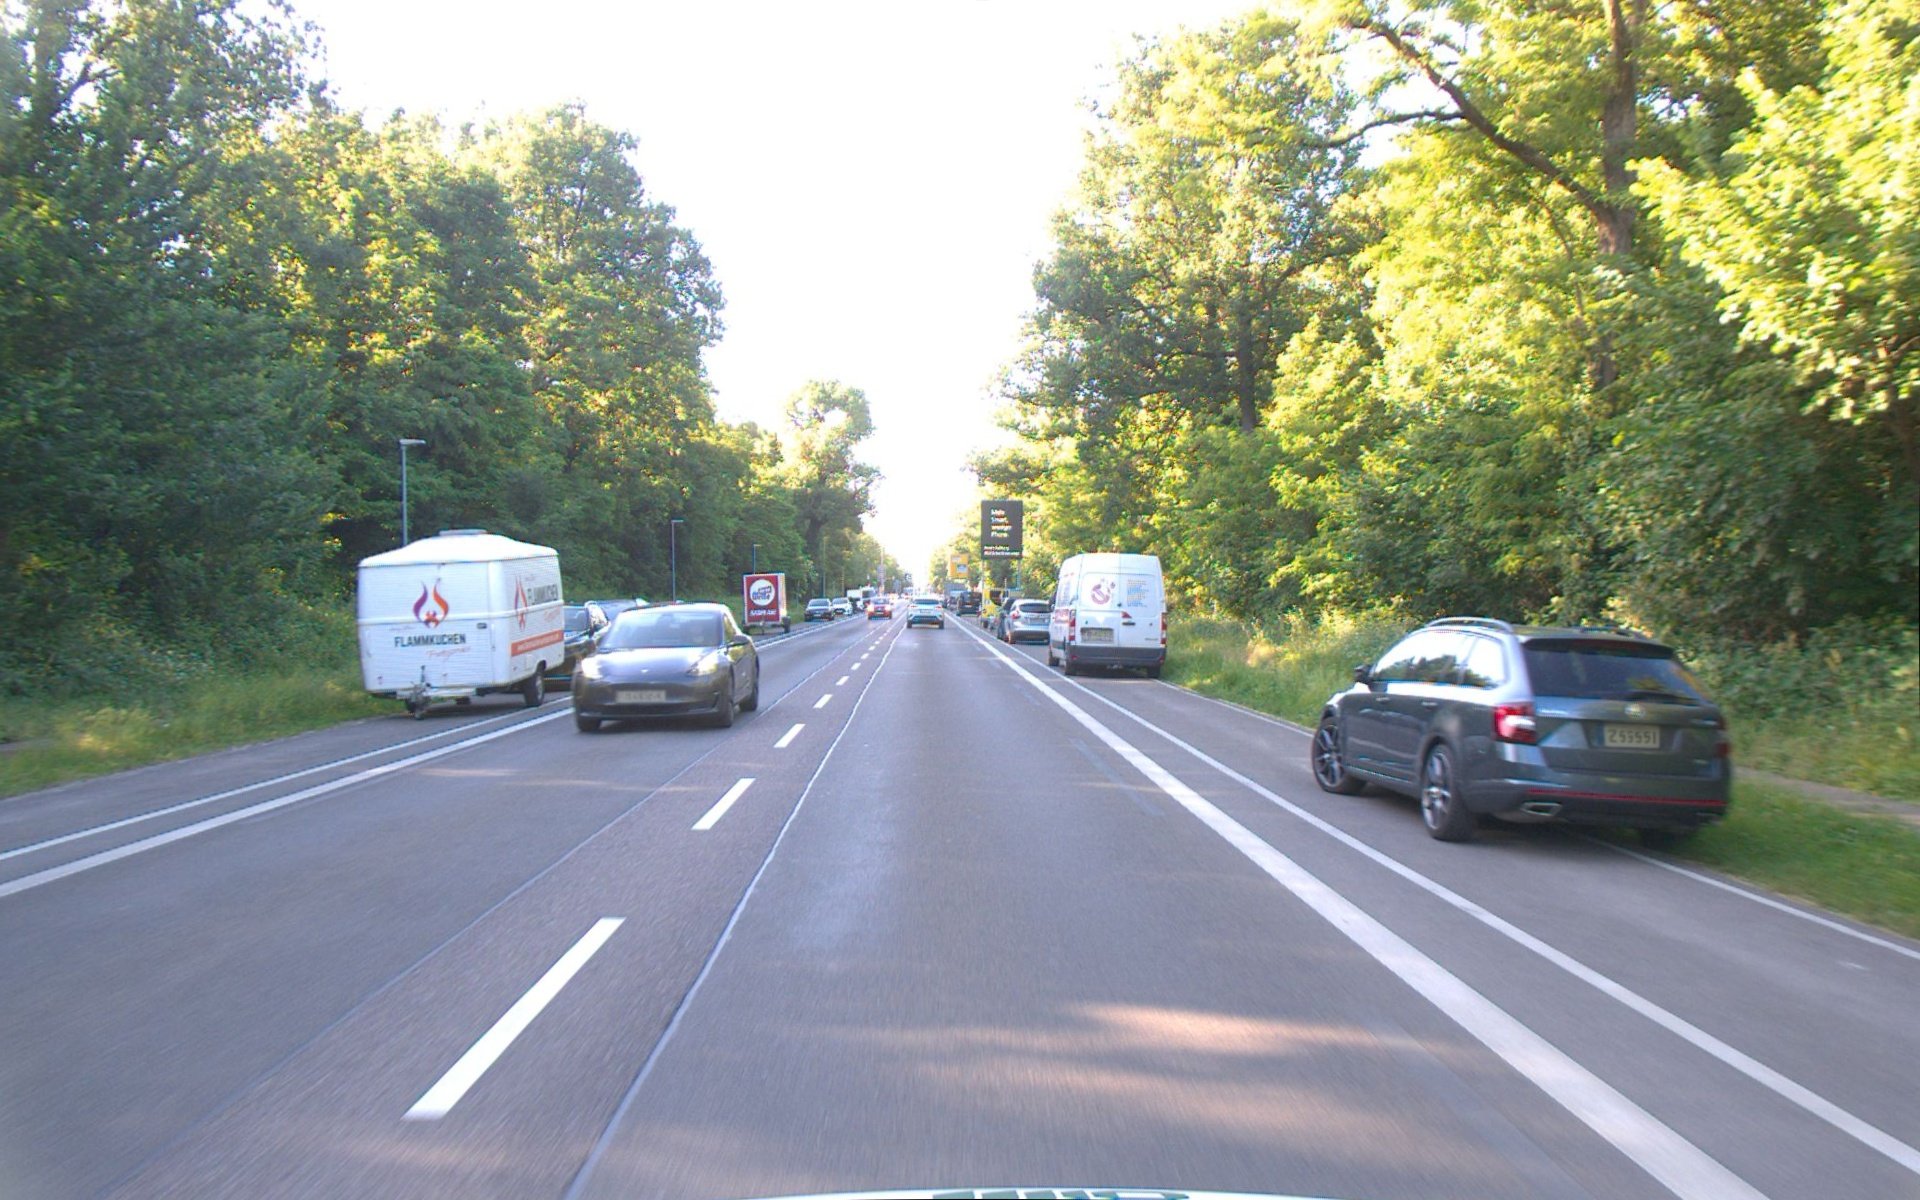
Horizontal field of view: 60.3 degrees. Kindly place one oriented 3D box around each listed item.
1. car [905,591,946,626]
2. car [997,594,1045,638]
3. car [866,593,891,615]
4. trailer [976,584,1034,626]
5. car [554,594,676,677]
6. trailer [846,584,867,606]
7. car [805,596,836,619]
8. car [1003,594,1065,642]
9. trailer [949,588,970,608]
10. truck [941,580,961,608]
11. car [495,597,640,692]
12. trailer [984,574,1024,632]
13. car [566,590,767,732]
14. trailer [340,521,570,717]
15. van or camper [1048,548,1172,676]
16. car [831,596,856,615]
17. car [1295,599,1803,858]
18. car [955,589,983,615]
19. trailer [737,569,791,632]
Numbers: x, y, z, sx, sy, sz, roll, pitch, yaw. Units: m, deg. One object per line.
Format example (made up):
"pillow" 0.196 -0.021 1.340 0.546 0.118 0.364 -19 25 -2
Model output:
"car" -1.673 0.389 80.048 1.953 1.668 3.999 0 0 -1
"car" 2.234 0.573 61.429 1.554 1.557 3.010 2 0 -2
"car" -5.437 0.263 110.797 1.571 1.445 3.517 -2 0 -2
"trailer" 2.321 0.233 84.029 1.921 2.058 3.846 0 0 18
"car" -7.498 0.729 36.400 1.637 1.601 5.125 -3 0 -1
"trailer" -11.200 -0.544 179.154 2.032 2.333 3.486 -1 0 0
"car" -9.387 0.509 111.485 1.817 1.490 4.783 0 0 -1
"car" 2.467 0.587 56.158 1.700 1.514 4.399 2 0 -3
"trailer" -0.033 -0.225 177.871 1.580 2.149 2.397 1 0 19
"truck" -1.148 -0.690 207.764 2.454 3.425 7.106 1 0 -1
"car" -7.085 0.765 30.253 1.637 1.521 4.193 -3 0 -1
"trailer" 1.999 0.149 75.577 1.581 2.552 3.999 1 0 -2
"car" -3.547 0.686 20.768 1.782 1.559 4.529 -1 0 -1
"trailer" -7.234 0.237 24.191 2.300 2.573 4.340 -1 0 -5
"van or camper" 3.113 0.222 35.681 2.082 2.526 6.304 0 0 0
"car" -9.719 0.412 138.460 1.829 1.476 4.070 -3 0 -1
"car" 4.011 0.779 12.220 1.798 1.445 4.593 3 0 -4
"car" 0.711 0.156 133.526 2.071 2.049 5.038 2 0 -1
"trailer" -8.592 0.026 72.863 1.953 2.667 4.085 0 0 -1
